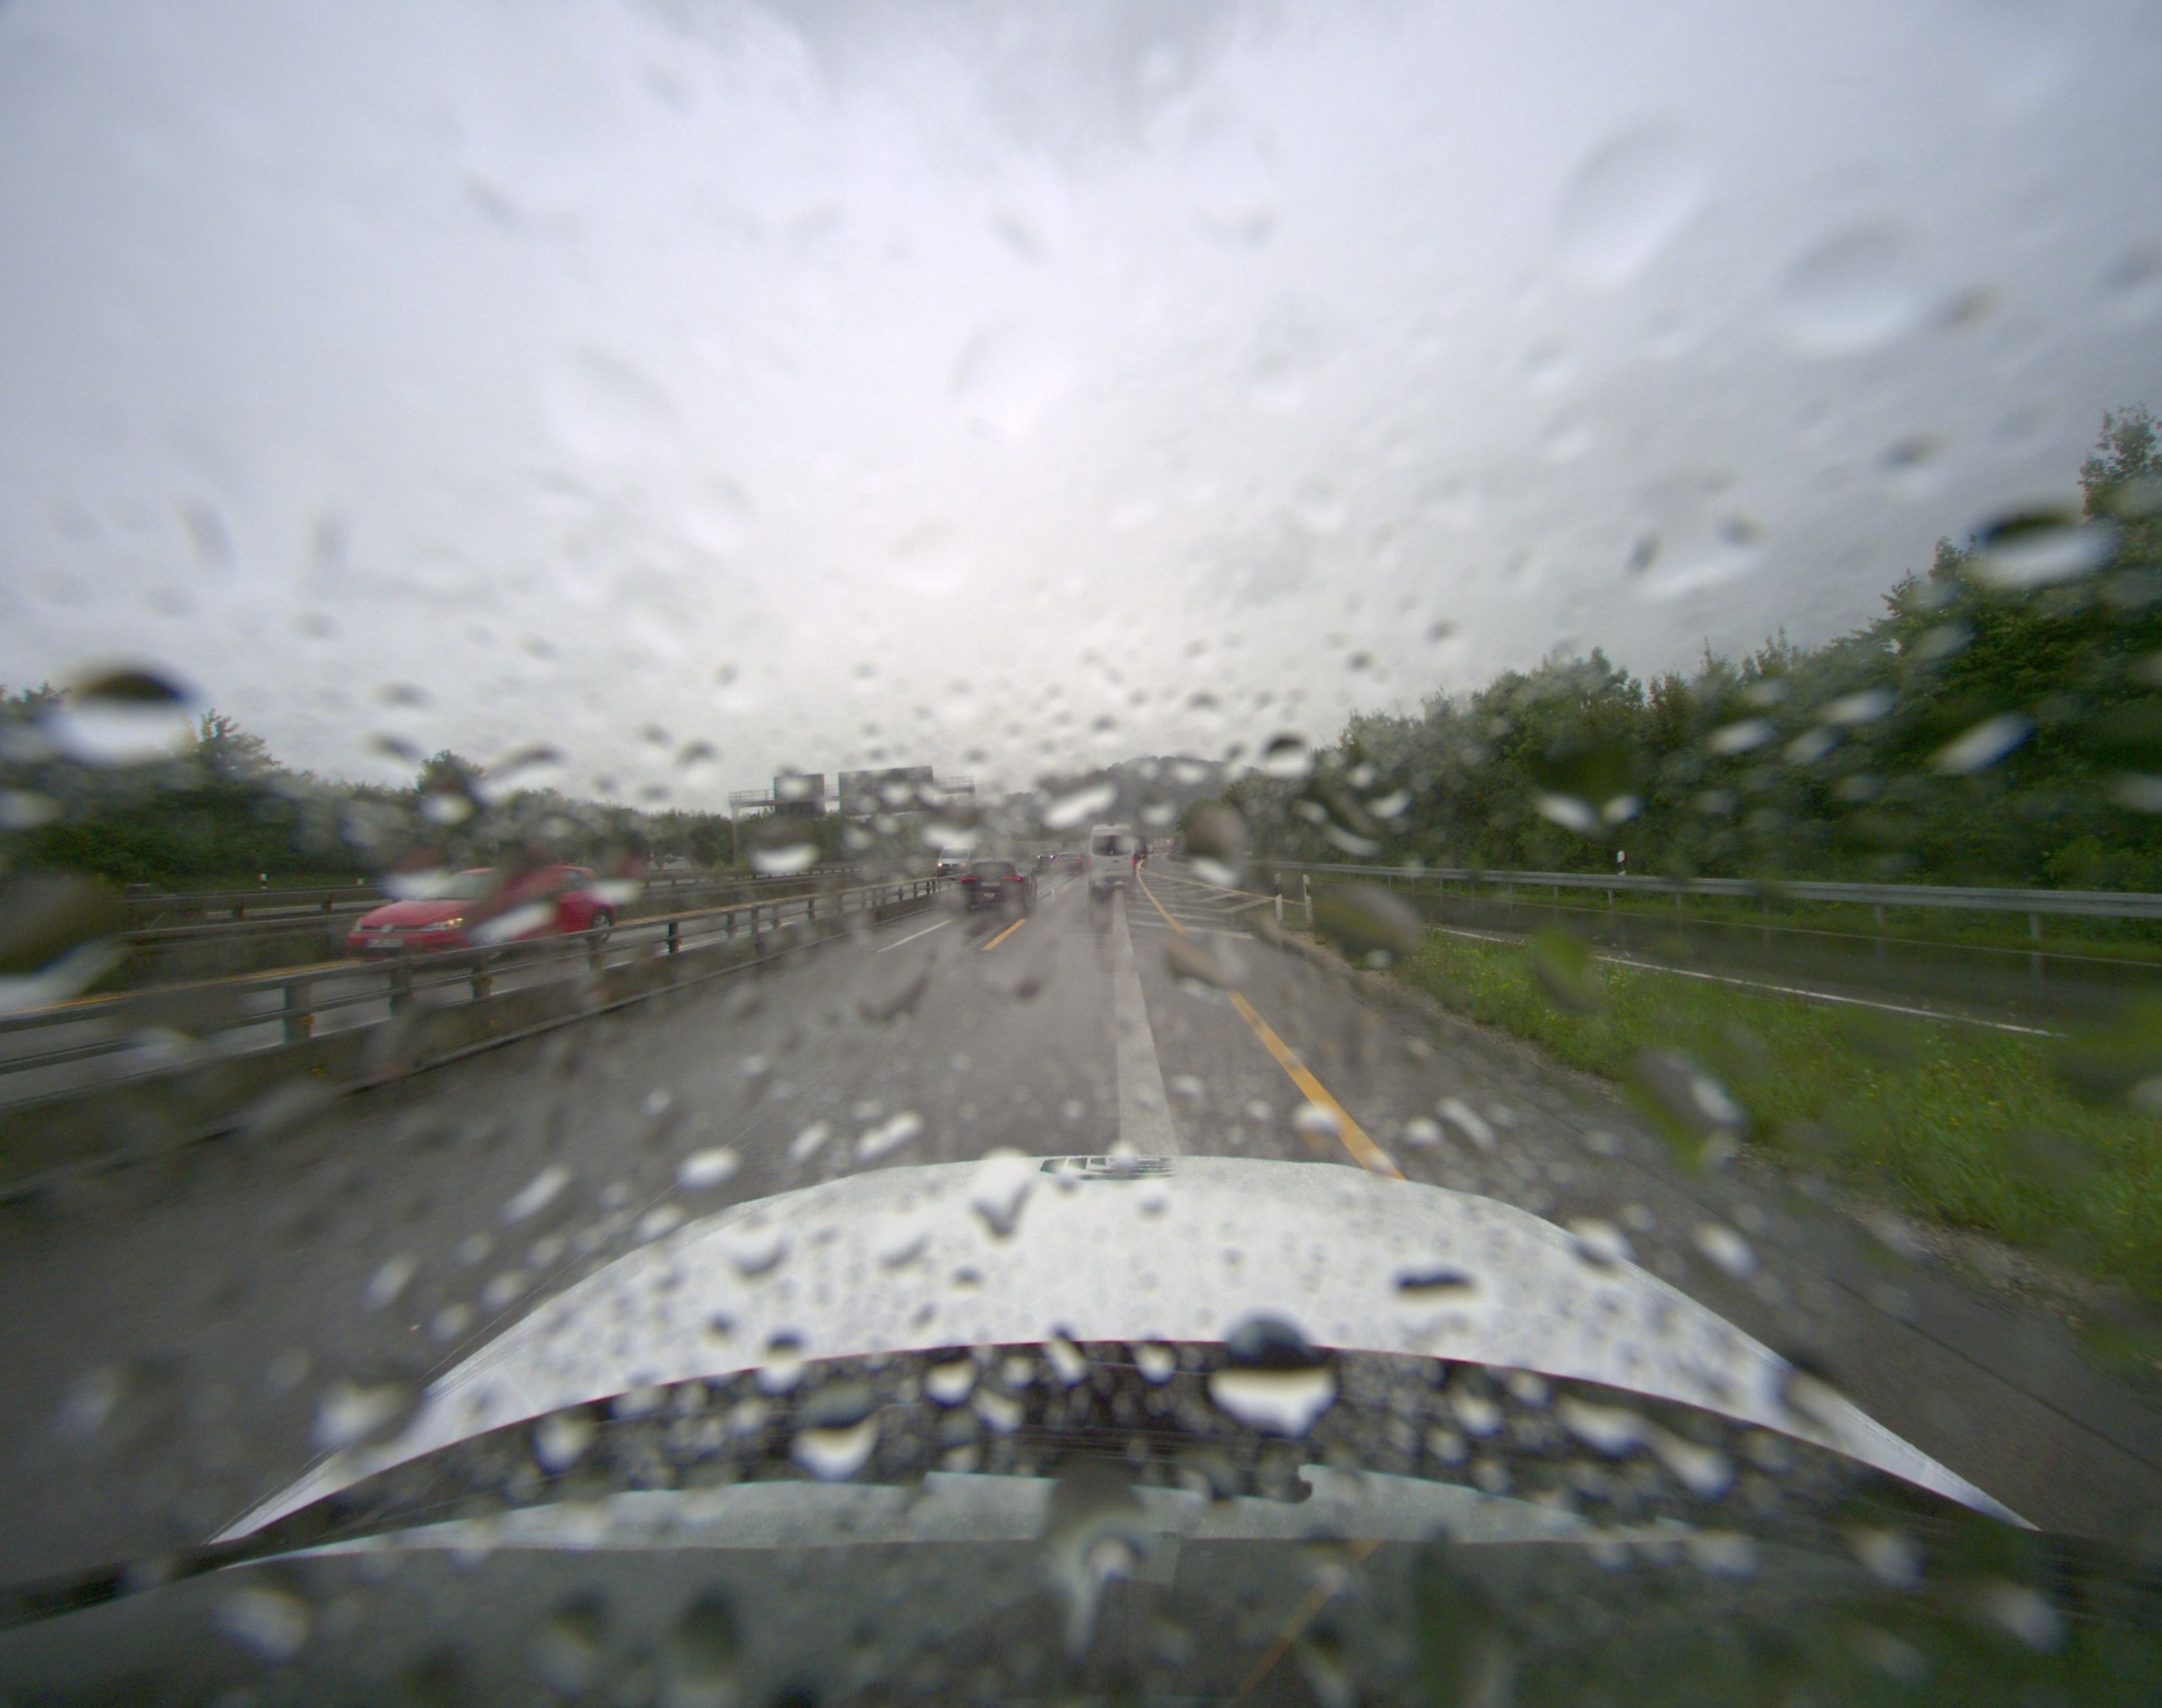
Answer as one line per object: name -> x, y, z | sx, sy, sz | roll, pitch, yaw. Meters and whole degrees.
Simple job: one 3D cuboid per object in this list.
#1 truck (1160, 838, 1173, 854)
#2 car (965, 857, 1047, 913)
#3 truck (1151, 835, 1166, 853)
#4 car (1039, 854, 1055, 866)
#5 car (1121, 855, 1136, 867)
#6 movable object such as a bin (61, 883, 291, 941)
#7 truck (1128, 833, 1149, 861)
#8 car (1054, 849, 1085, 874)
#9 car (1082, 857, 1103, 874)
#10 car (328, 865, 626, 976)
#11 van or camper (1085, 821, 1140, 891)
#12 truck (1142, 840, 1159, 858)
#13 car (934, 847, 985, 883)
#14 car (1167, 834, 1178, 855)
truck -> 27.476, -2.550, 261.307 | 3.908, 4.785, 9.925 | 0, -1, 7
car -> -2.036, 0.818, 23.510 | 1.933, 1.427, 4.759 | -1, 0, 0
truck -> 21.269, -2.694, 222.987 | 3.908, 4.785, 9.925 | 0, -1, 7
car -> -4.054, 0.747, 96.782 | 1.625, 1.351, 3.657 | -2, 0, 2
car -> 5.313, 0.790, 91.143 | 1.381, 1.256, 3.120 | -1, 0, -2
movable object such as a bin -> -26.053, 1.614, 23.704 | 2.118, 1.425, 4.002 | 0, 0, 2
truck -> 9.879, -1.133, 140.021 | 3.307, 4.785, 9.911 | 0, -1, 2
car -> -0.735, 0.500, 55.751 | 1.860, 1.659, 3.990 | -1, 0, 2
car -> 1.140, 1.050, 75.973 | 1.845, 1.500, 4.002 | -1, 0, 2
car -> -9.486, 0.939, 13.306 | 1.602, 1.504, 4.218 | 0, 0, 2
van or camper -> 1.377, 0.088, 34.731 | 2.131, 2.721, 4.651 | -1, 0, 3
truck -> 15.594, -1.069, 183.573 | 3.307, 3.762, 9.911 | 0, 0, 2
car -> -7.170, 0.619, 48.717 | 1.901, 2.014, 5.832 | 0, 0, 3
car -> 19.000, -2.017, 169.451 | 2.048, 4.191, 6.754 | -1, 0, 4
